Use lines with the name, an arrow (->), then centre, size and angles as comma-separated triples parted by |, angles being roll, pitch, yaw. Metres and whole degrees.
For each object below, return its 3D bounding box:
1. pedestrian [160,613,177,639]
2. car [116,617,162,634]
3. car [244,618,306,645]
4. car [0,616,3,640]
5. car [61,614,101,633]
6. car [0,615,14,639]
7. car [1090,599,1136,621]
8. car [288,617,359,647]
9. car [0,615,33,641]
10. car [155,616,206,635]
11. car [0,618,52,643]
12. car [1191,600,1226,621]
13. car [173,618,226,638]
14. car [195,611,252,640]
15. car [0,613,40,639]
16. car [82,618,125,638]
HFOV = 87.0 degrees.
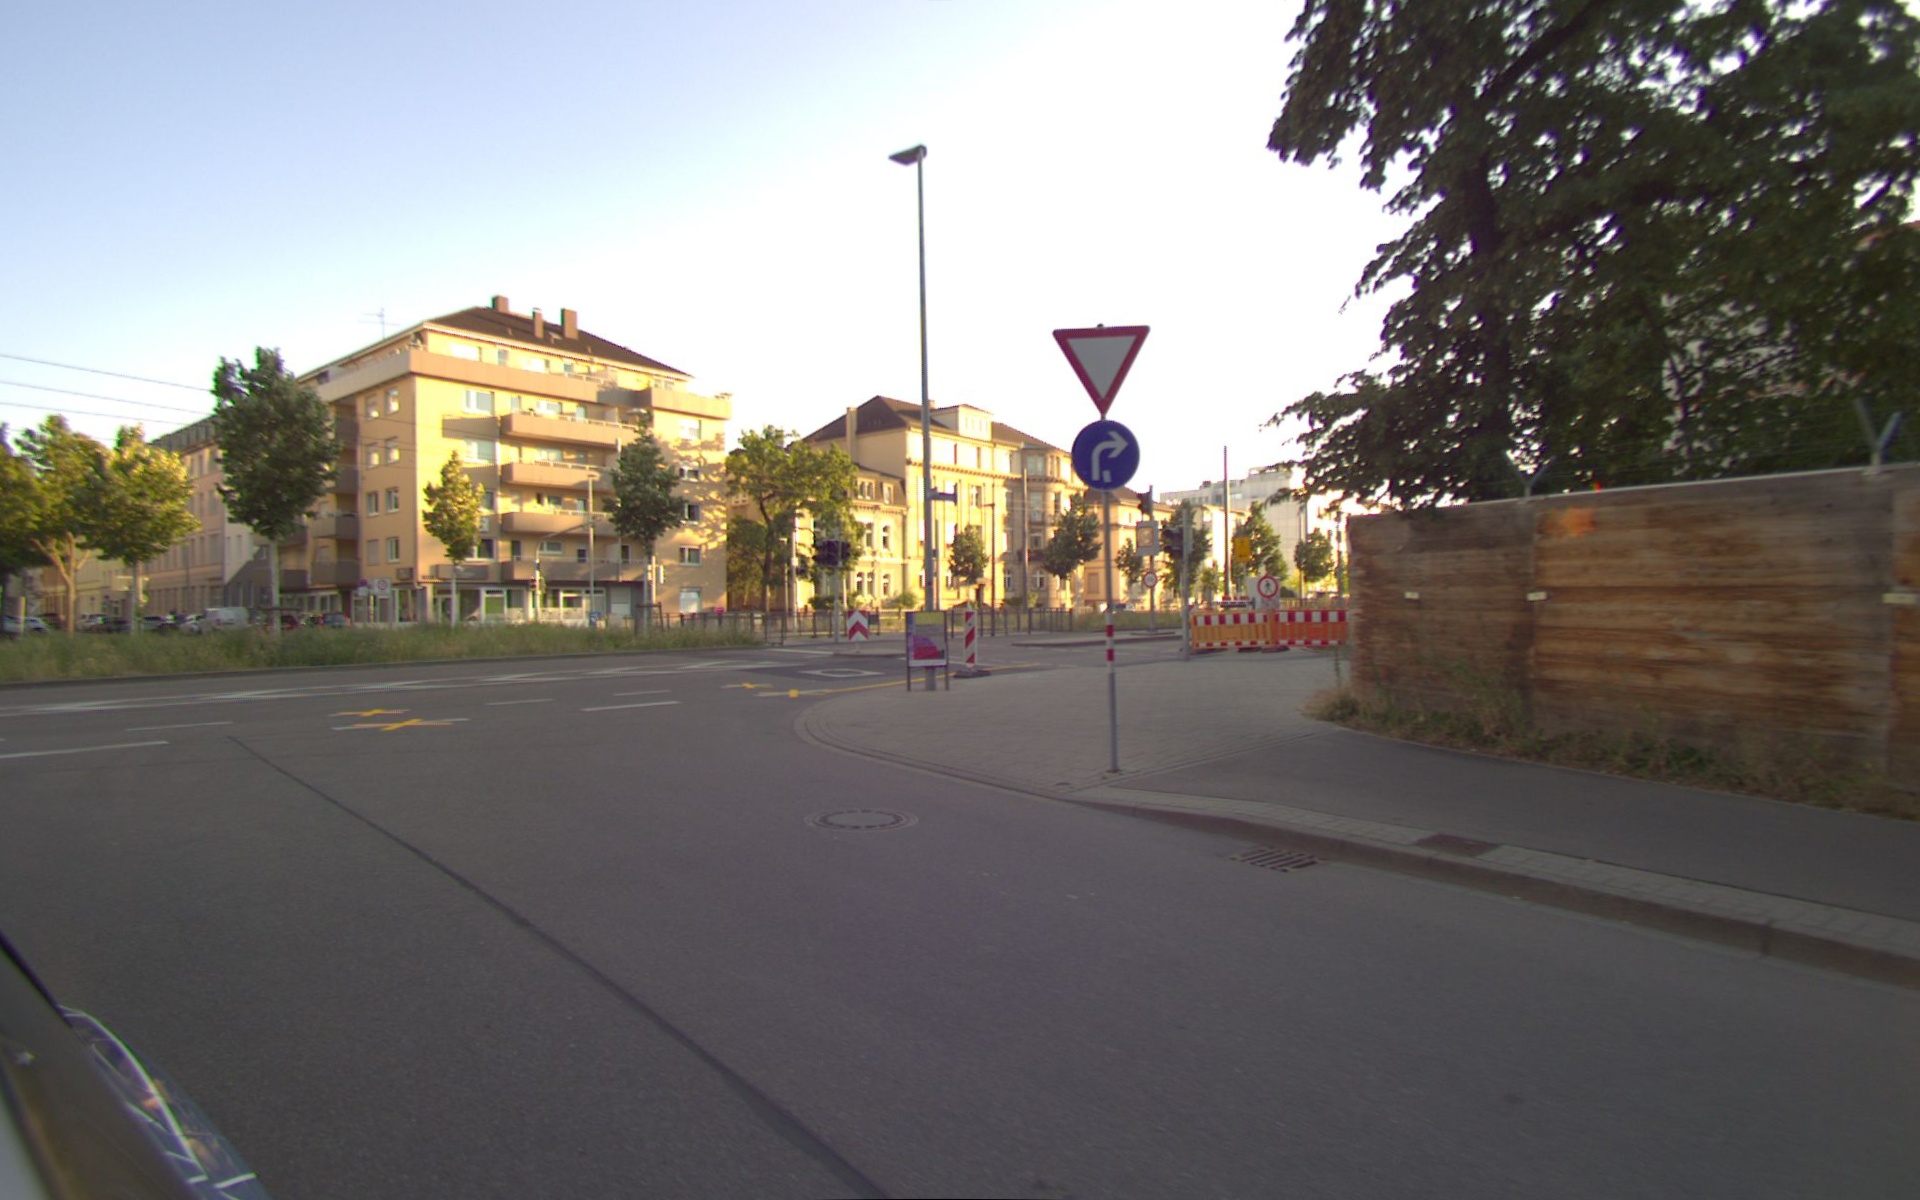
pedestrian -> -62.197, 2.052, 79.514 | 0.770, 2.029, 0.880 | -1, -1, 38
car -> -62.492, 1.919, 77.023 | 3.996, 1.253, 1.974 | -1, 0, 39
car -> -40.047, 1.806, 59.151 | 3.996, 1.497, 1.974 | -1, 0, 39
car -> -67.252, 1.916, 67.633 | 1.998, 1.572, 4.583 | -1, 0, 39
car -> -76.856, 2.024, 88.496 | 3.996, 1.541, 1.974 | -1, 0, 39
car -> -64.661, 1.765, 65.641 | 1.998, 1.572, 4.583 | -1, 0, 39
car -> 12.489, 0.835, 82.420 | 1.998, 1.741, 3.948 | -1, -1, 39
car -> -33.754, 1.660, 53.636 | 3.996, 1.497, 1.974 | -1, 0, 39
car -> -61.355, 1.776, 63.440 | 1.998, 1.572, 4.583 | -1, 0, 39
car -> -54.832, 1.752, 71.176 | 3.996, 1.253, 1.974 | -1, 0, 39
car -> -55.731, 1.772, 58.512 | 1.998, 1.408, 4.583 | -1, 0, 39
car -> 25.042, 1.027, 101.998 | 1.998, 2.029, 3.948 | -1, -1, 39
car -> -51.295, 1.857, 68.215 | 3.996, 1.253, 1.974 | -1, 0, 39
car -> -46.831, 1.585, 64.313 | 3.996, 1.763, 1.974 | -1, 0, 39
car -> -59.596, 1.612, 61.979 | 1.998, 1.572, 4.583 | -1, 0, 39
car -> -70.794, 2.271, 83.627 | 3.996, 1.541, 1.974 | -1, 0, 39
